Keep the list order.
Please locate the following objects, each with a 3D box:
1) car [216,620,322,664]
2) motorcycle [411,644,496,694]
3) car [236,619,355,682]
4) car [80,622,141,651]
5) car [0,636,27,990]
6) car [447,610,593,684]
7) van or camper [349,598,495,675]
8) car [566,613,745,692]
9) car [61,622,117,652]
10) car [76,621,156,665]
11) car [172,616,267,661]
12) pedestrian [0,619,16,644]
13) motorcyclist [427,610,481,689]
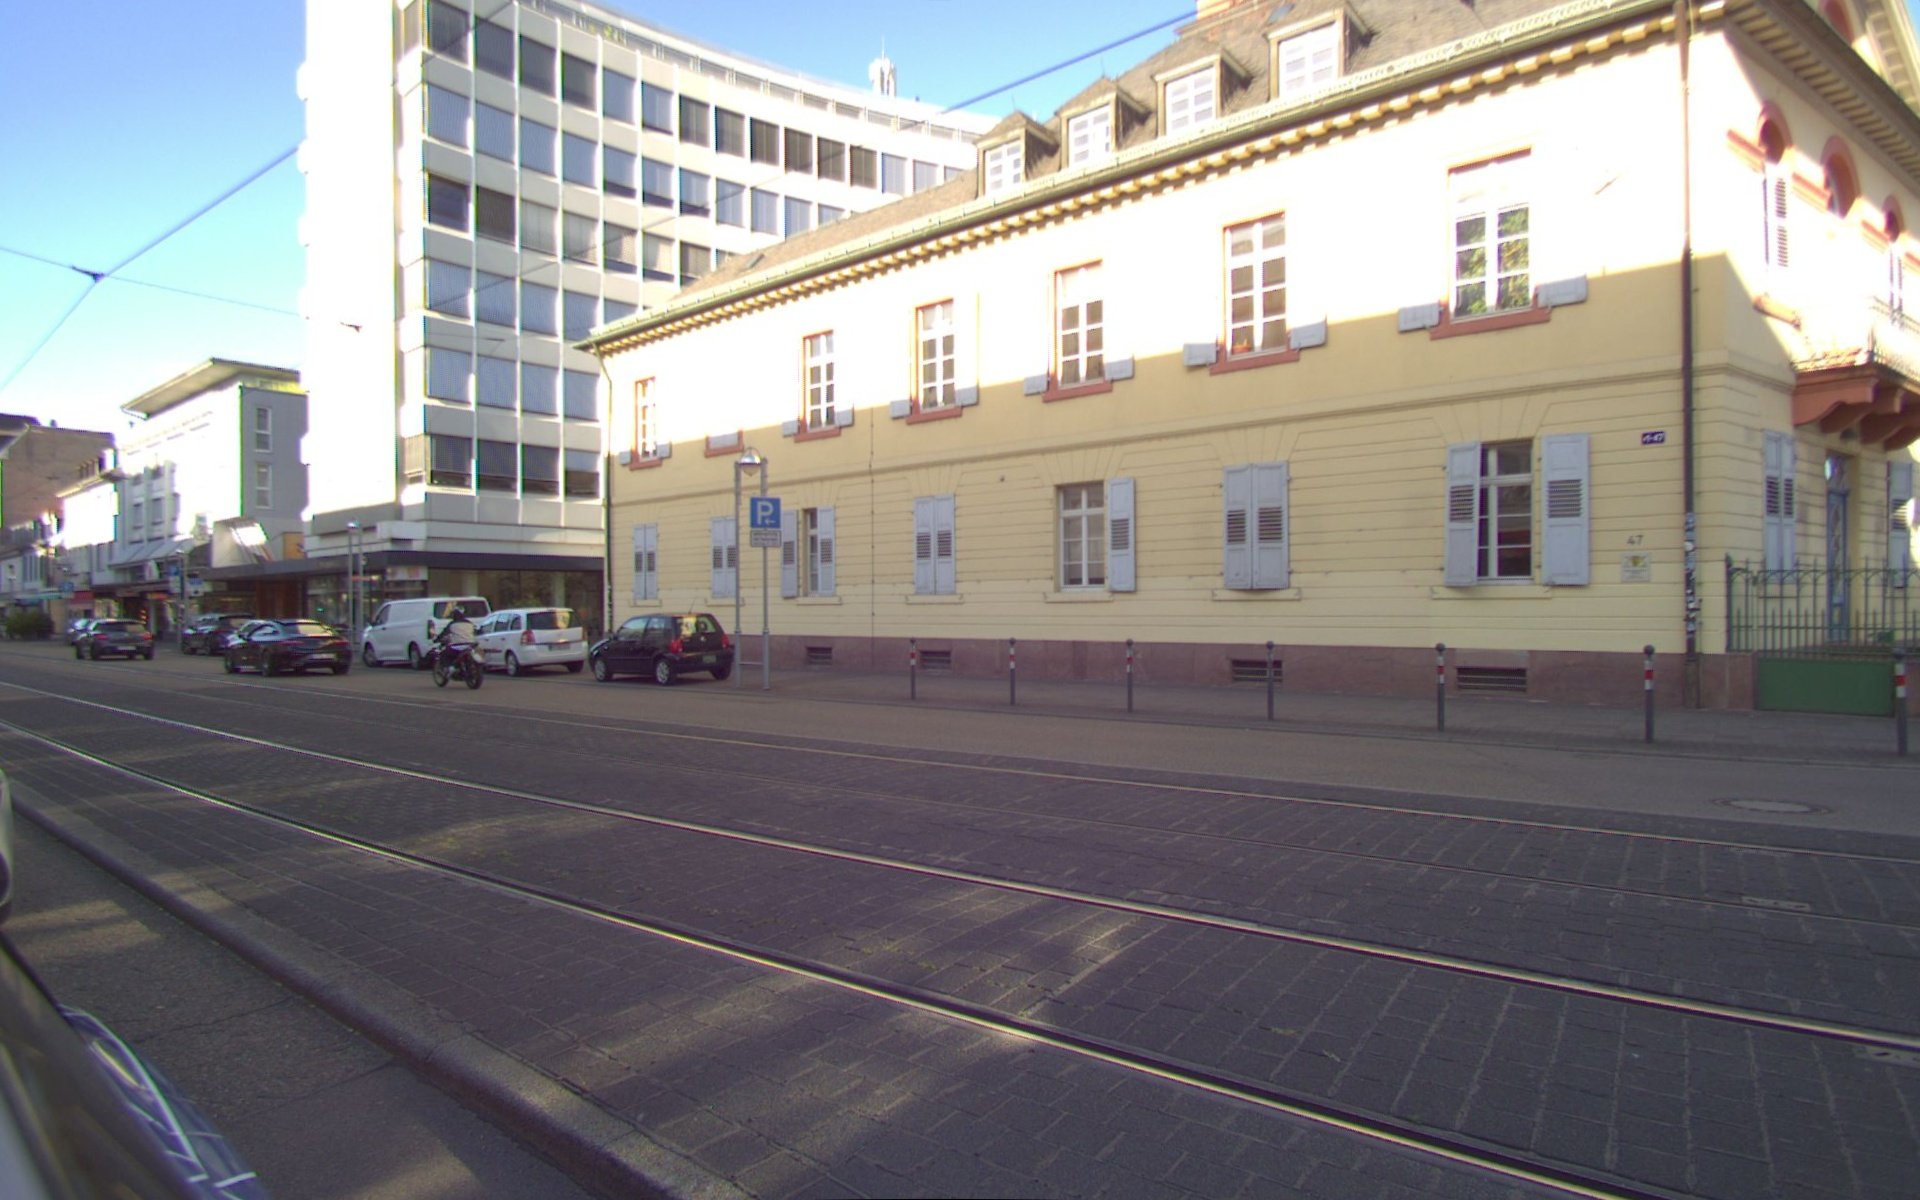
[{"bbox_3d":[-25.669,1.523,37.563,4.285,1.463,1.909,-1,1,36],"label":"car"},{"bbox_3d":[-10.445,1.399,20.845,2.150,0.933,0.594,-1,0,34],"label":"motorcycle"},{"bbox_3d":[-17.652,1.280,26.782,1.756,1.521,4.673,2,-2,-44],"label":"car"},{"bbox_3d":[-44.357,1.893,52.835,3.593,1.427,1.764,-1,0,38],"label":"car"},{"bbox_3d":[-6.330,0.888,5.065,4.771,1.450,1.845,-1,-2,40],"label":"car"},{"bbox_3d":[-11.097,1.111,25.395,4.175,1.632,1.758,-1,1,42],"label":"car"},{"bbox_3d":[-15.469,0.981,29.015,4.792,1.988,1.936,-1,1,39],"label":"van or camper"},{"bbox_3d":[-6.552,1.046,21.617,3.958,1.450,1.759,-1,1,40],"label":"car"},{"bbox_3d":[-47.969,2.007,55.716,3.830,1.531,1.764,-1,0,40],"label":"car"},{"bbox_3d":[-30.731,1.550,36.817,3.860,1.521,1.757,-2,-2,43],"label":"car"},{"bbox_3d":[-29.931,1.519,40.866,4.275,1.654,1.908,-1,1,37],"label":"car"},{"bbox_3d":[-70.181,2.296,74.261,1.026,1.835,1.003,-1,0,22],"label":"pedestrian"},{"bbox_3d":[-10.416,0.999,20.833,0.882,1.570,0.647,-1,0,33],"label":"motorcyclist"}]
